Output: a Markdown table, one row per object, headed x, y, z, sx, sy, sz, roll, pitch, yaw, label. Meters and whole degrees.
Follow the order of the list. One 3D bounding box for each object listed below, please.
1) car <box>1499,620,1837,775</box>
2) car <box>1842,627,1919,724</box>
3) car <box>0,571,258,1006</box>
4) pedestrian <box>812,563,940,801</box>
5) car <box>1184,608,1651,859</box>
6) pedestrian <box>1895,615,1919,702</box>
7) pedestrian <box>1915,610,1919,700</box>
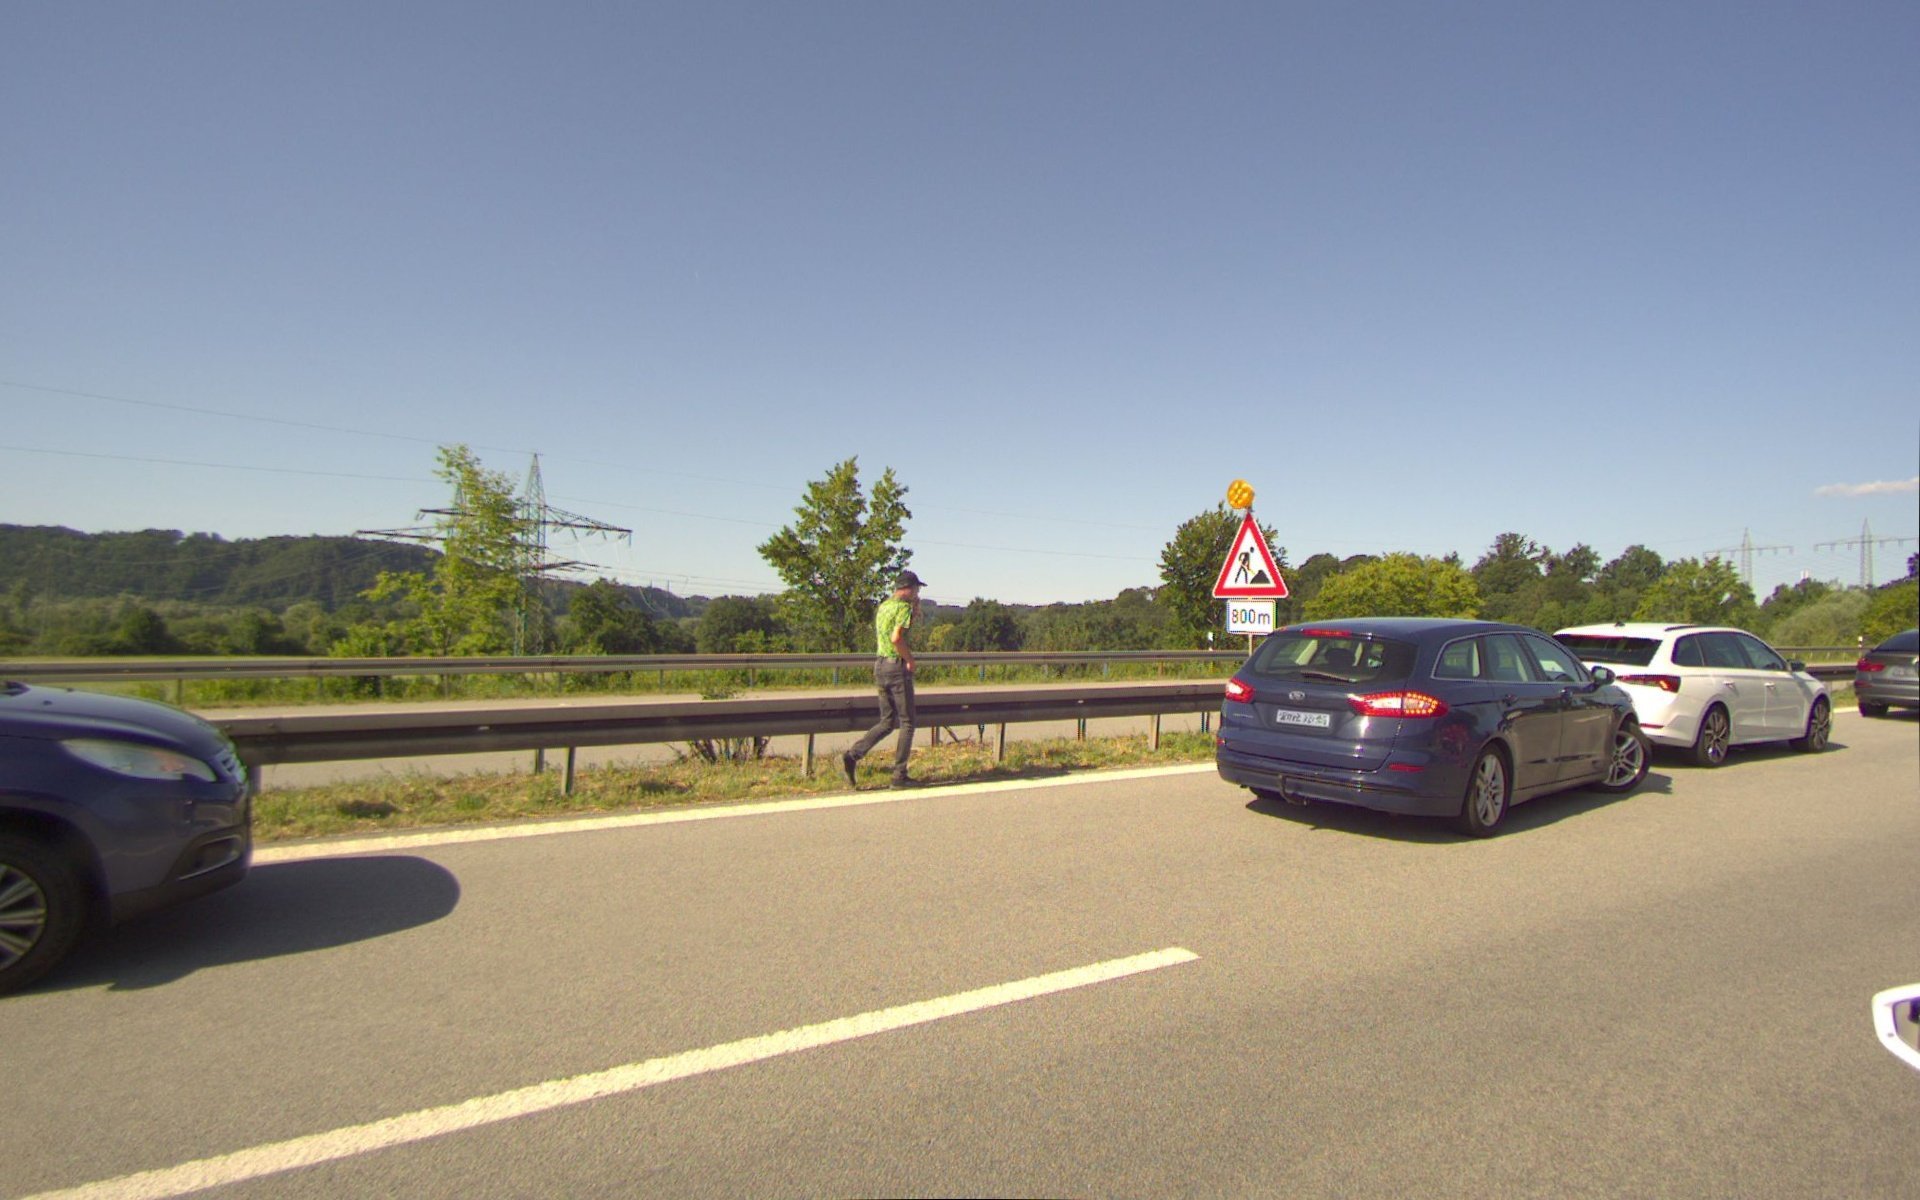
| x | y | z | sx | sy | sz | roll | pitch | yaw | label |
| --- | --- | --- | --- | --- | --- | --- | --- | --- | --- |
| 8.216 | 1.006 | 11.567 | 4.163 | 1.461 | 1.685 | 1 | 0 | -32 | car |
| 16.396 | 1.207 | 16.497 | 4.285 | 1.445 | 1.685 | 1 | 0 | -32 | car |
| -4.900 | 0.634 | 3.561 | 3.909 | 1.555 | 1.676 | 1 | 0 | -35 | car |
| -0.674 | 0.624 | 7.987 | 0.805 | 1.773 | 0.667 | 1 | -1 | -30 | pedestrian |
| 3.916 | 0.868 | 8.202 | 4.457 | 1.513 | 1.773 | 2 | -2 | -41 | car |
| 20.120 | 1.199 | 20.630 | 1.032 | 1.786 | 1.109 | 1 | -1 | -32 | pedestrian |
| 20.971 | 1.165 | 21.115 | 1.081 | 1.908 | 1.060 | 1 | -1 | -32 | pedestrian |
